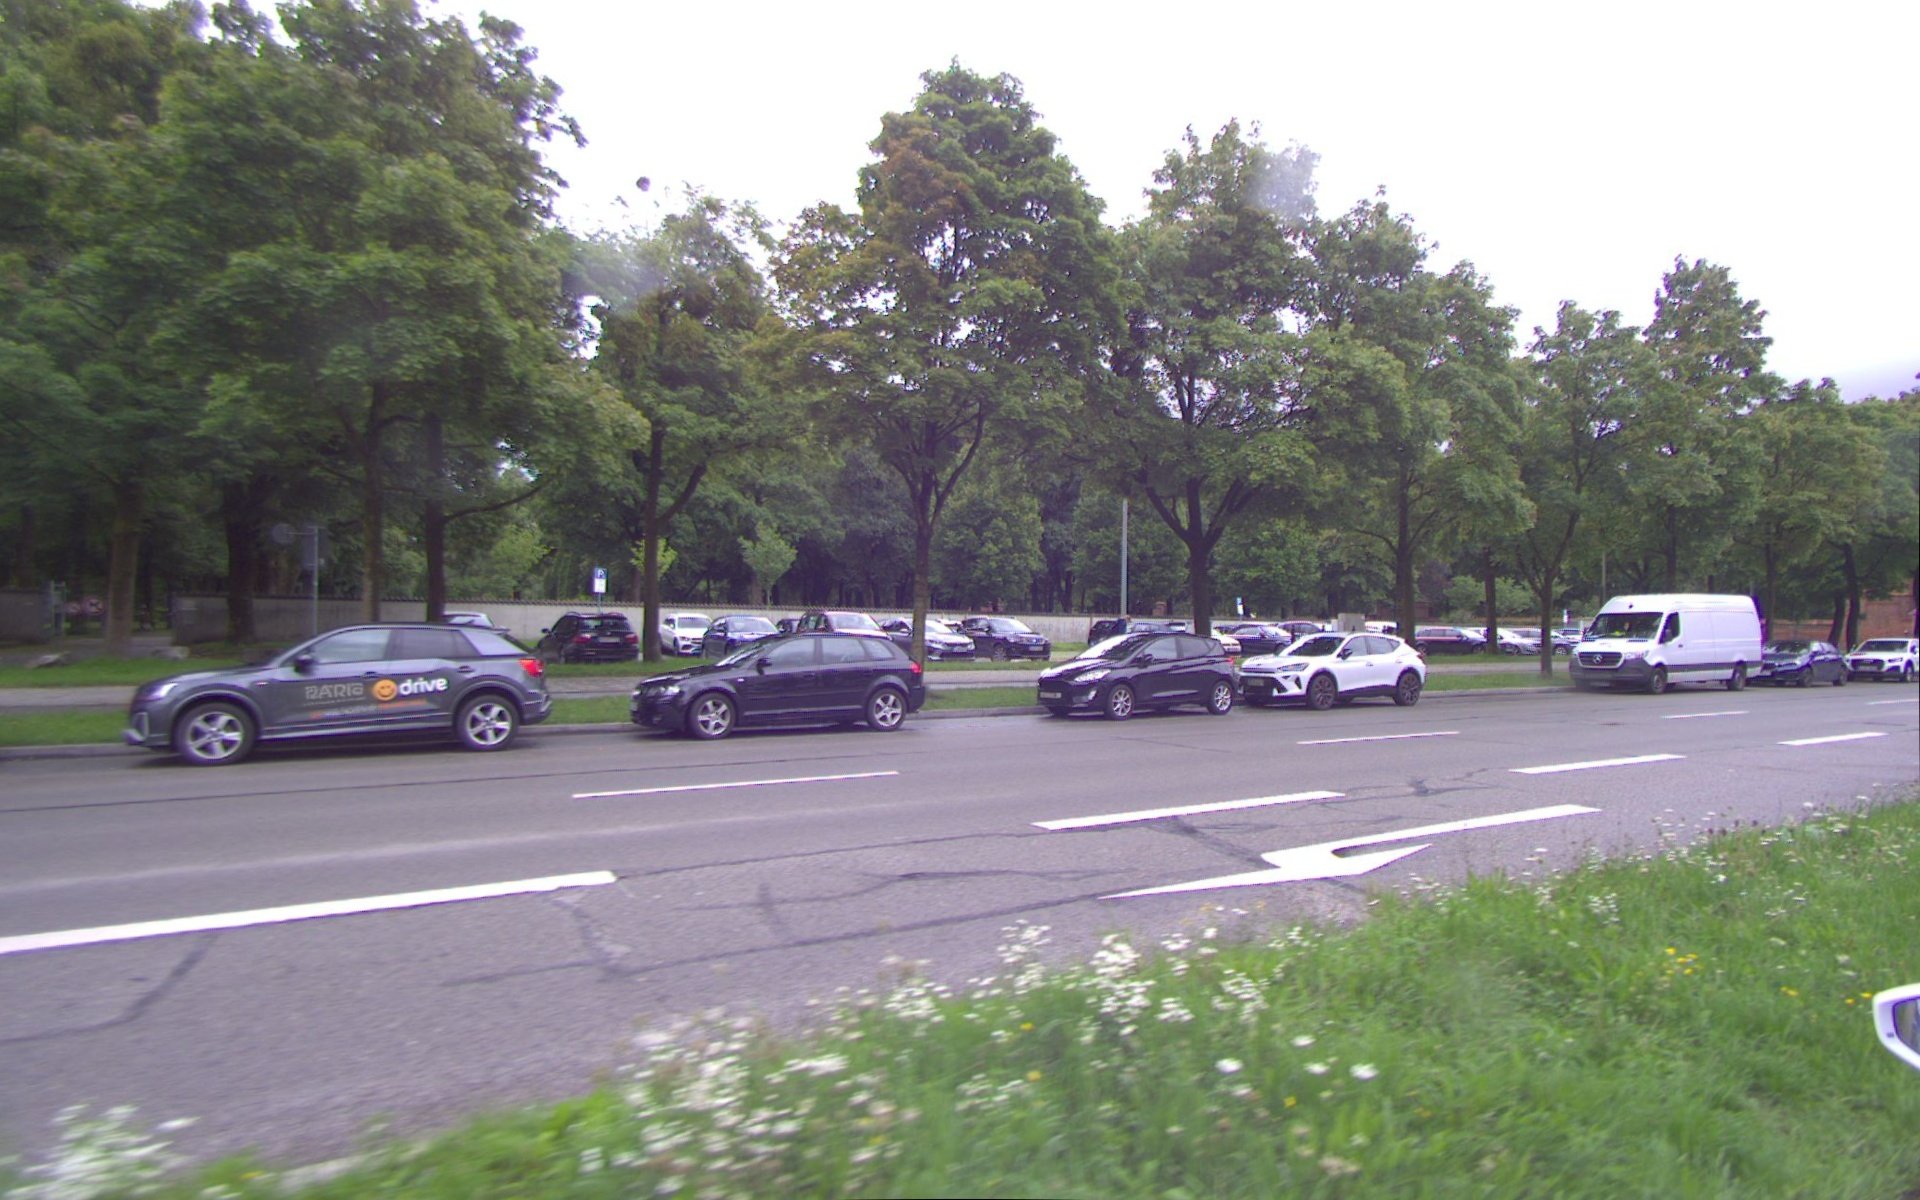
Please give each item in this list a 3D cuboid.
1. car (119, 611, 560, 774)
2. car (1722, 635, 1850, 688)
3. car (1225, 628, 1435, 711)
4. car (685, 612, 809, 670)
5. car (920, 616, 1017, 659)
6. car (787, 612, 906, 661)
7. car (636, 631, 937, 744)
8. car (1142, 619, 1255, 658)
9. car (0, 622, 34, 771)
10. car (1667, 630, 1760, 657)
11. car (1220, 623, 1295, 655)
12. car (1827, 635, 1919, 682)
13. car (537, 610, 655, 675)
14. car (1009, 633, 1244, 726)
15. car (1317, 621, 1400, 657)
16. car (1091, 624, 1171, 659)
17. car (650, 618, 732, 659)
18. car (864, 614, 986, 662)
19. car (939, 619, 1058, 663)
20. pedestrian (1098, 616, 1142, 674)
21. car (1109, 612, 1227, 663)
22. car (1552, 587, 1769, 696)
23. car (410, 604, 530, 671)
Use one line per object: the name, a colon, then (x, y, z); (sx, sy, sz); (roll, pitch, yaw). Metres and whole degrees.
car: (-6.979, 0.977, 11.758); (4.063, 1.620, 1.814); (2, -1, -29)
car: (25.843, 1.927, 31.410); (4.205, 1.510, 1.847); (3, -1, -32)
car: (7.581, 1.404, 20.489); (4.251, 1.547, 1.812); (3, -3, -32)
car: (-5.968, 1.082, 27.880); (1.980, 1.461, 3.961); (1, -1, -35)
car: (0.286, 1.516, 41.472); (1.977, 1.647, 4.484); (1, -1, -30)
car: (-3.325, 1.023, 28.878); (1.724, 1.301, 3.961); (1, -1, -35)
car: (-2.490, 1.192, 14.539); (3.950, 1.428, 1.814); (1, -3, -28)
car: (8.749, 1.389, 37.126); (1.794, 1.356, 3.965); (1, -1, -32)
car: (-11.395, 0.916, 9.314); (3.767, 1.499, 1.812); (3, -1, -32)
car: (43.544, 2.505, 58.126); (1.738, 1.410, 3.959); (1, -1, -29)
car: (16.166, 2.095, 54.739); (1.746, 1.617, 3.975); (1, -1, -25)
car: (32.357, 2.055, 35.221); (4.096, 1.510, 1.847); (3, -1, -32)
car: (-9.248, 1.011, 25.302); (1.978, 1.461, 4.112); (1, -1, -32)
car: (2.977, 1.323, 17.703); (3.960, 1.466, 1.810); (2, -3, -35)
car: (24.527, 2.380, 61.982); (1.977, 2.061, 4.484); (1, -1, -30)
car: (8.444, 2.036, 49.778); (1.750, 1.617, 3.966); (1, -1, -31)
car: (-10.504, 1.459, 38.985); (1.977, 1.461, 4.484); (1, -1, -30)
car: (-1.105, 1.102, 30.026); (1.724, 1.301, 3.959); (1, -1, -36)
car: (1.161, 1.274, 31.932); (1.674, 1.275, 3.959); (1, -1, -36)
pedestrian: (4.280, 1.190, 26.899); (0.846, 1.515, 0.791); (1, -1, -30)
car: (6.973, 1.231, 34.006); (1.792, 1.591, 3.971); (1, -1, -28)
car: (19.300, 1.114, 27.556); (7.021, 2.678, 2.130); (1, -2, -30)
car: (-11.833, 0.855, 24.131); (1.980, 1.461, 3.961); (1, -1, -35)
